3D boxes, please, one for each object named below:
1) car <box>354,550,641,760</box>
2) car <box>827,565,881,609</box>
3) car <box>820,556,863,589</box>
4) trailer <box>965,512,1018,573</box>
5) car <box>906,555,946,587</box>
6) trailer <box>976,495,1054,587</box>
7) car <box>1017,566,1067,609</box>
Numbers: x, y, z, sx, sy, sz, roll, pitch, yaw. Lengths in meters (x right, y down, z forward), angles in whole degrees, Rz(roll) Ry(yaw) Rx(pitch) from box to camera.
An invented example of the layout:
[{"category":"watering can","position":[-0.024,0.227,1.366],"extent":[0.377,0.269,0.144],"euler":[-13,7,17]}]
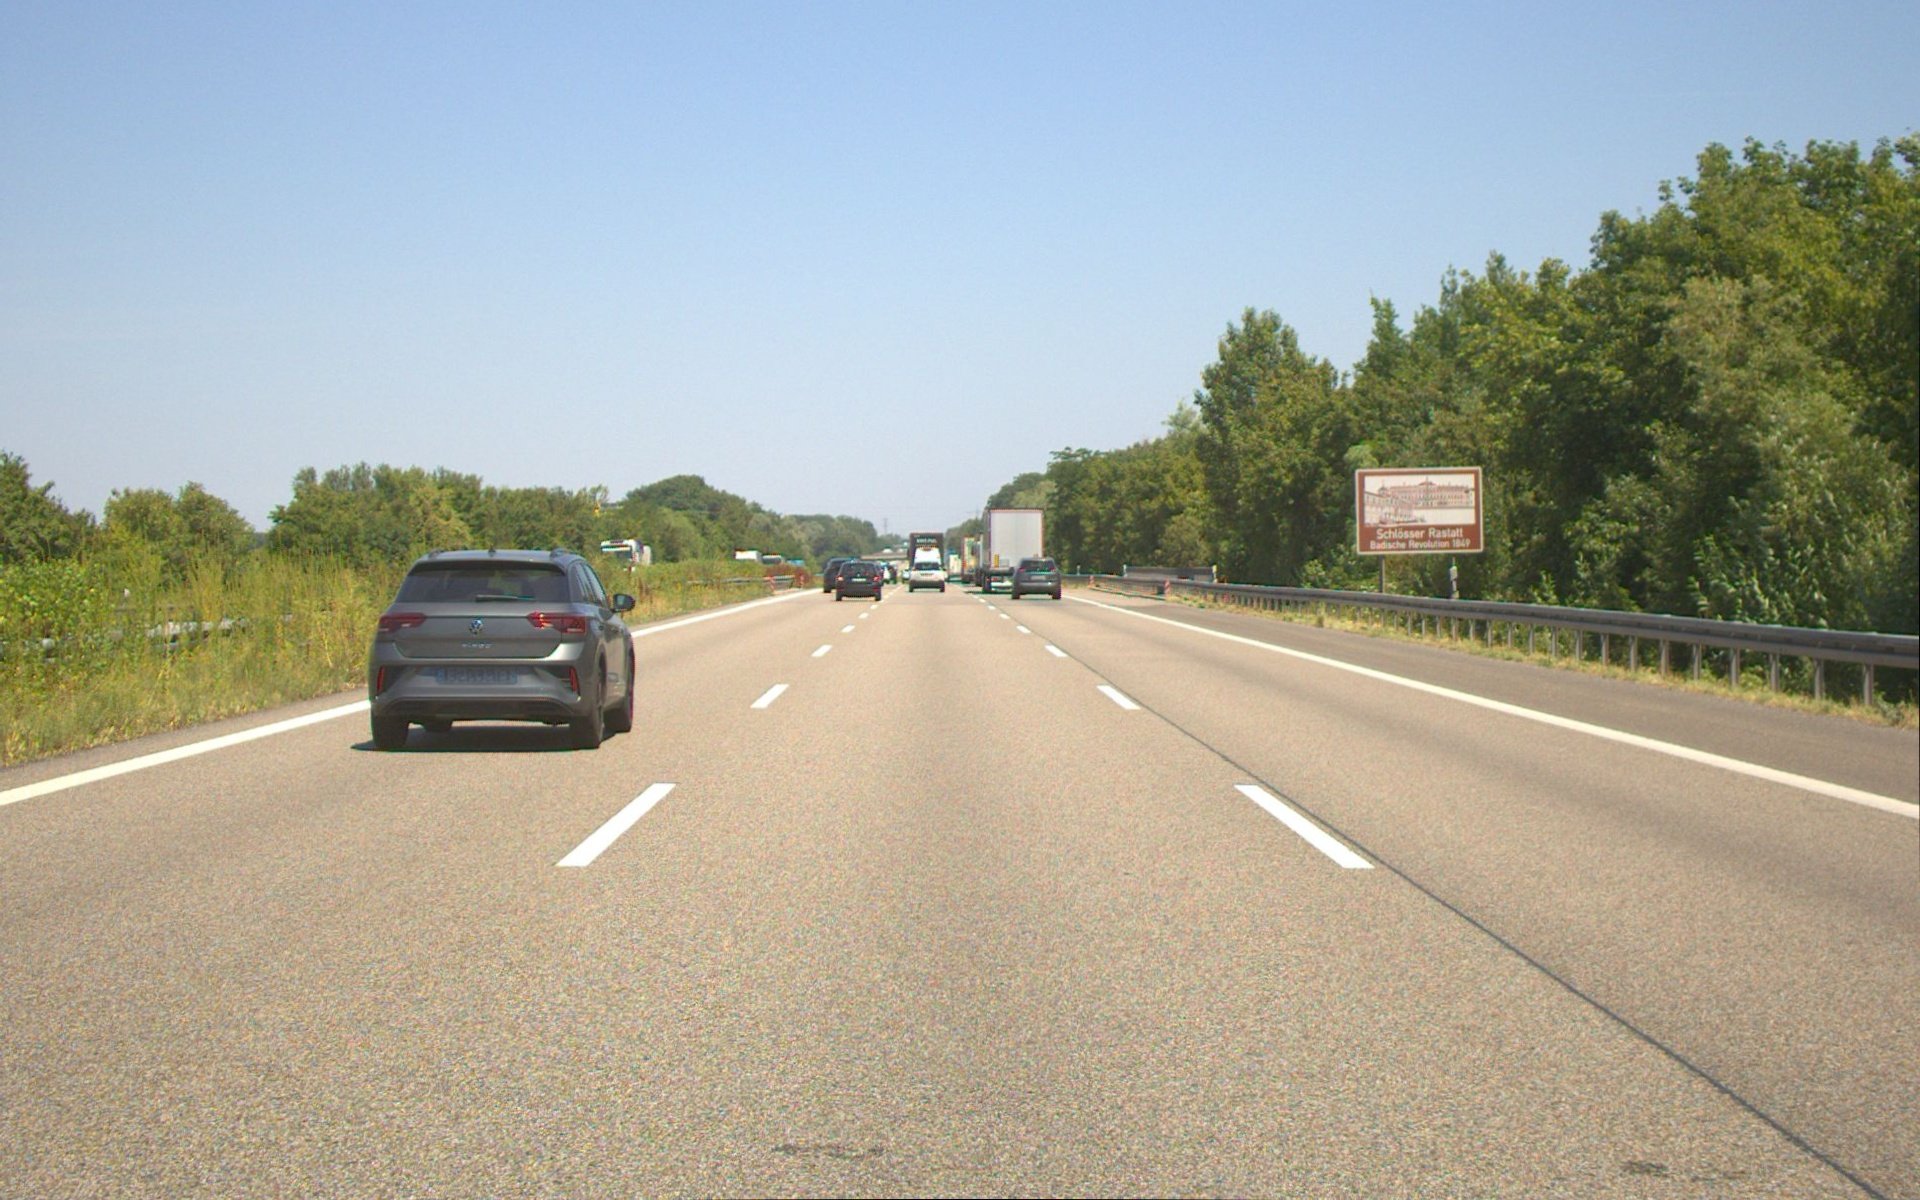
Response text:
[{"category":"car","position":[-3.659,0.381,27.861],"extent":[1.759,1.525,4.285],"euler":[1,1,0]},{"category":"car","position":[-3.879,-0.483,126.290],"extent":[1.900,1.525,4.084],"euler":[1,1,0]},{"category":"car","position":[-5.626,-1.321,163.220],"extent":[1.907,1.525,4.285],"euler":[1,1,0]},{"category":"trailer","position":[2.040,-3.805,228.472],"extent":[3.122,3.913,9.937],"euler":[1,1,-1]},{"category":"car","position":[-1.688,-1.455,171.011],"extent":[1.900,1.525,4.084],"euler":[1,1,0]},{"category":"trailer","position":[2.569,-2.754,166.145],"extent":[3.434,4.167,13.632],"euler":[1,0,0]},{"category":"car","position":[3.164,-0.483,133.442],"extent":[1.845,1.623,4.135],"euler":[0,1,0]}]
